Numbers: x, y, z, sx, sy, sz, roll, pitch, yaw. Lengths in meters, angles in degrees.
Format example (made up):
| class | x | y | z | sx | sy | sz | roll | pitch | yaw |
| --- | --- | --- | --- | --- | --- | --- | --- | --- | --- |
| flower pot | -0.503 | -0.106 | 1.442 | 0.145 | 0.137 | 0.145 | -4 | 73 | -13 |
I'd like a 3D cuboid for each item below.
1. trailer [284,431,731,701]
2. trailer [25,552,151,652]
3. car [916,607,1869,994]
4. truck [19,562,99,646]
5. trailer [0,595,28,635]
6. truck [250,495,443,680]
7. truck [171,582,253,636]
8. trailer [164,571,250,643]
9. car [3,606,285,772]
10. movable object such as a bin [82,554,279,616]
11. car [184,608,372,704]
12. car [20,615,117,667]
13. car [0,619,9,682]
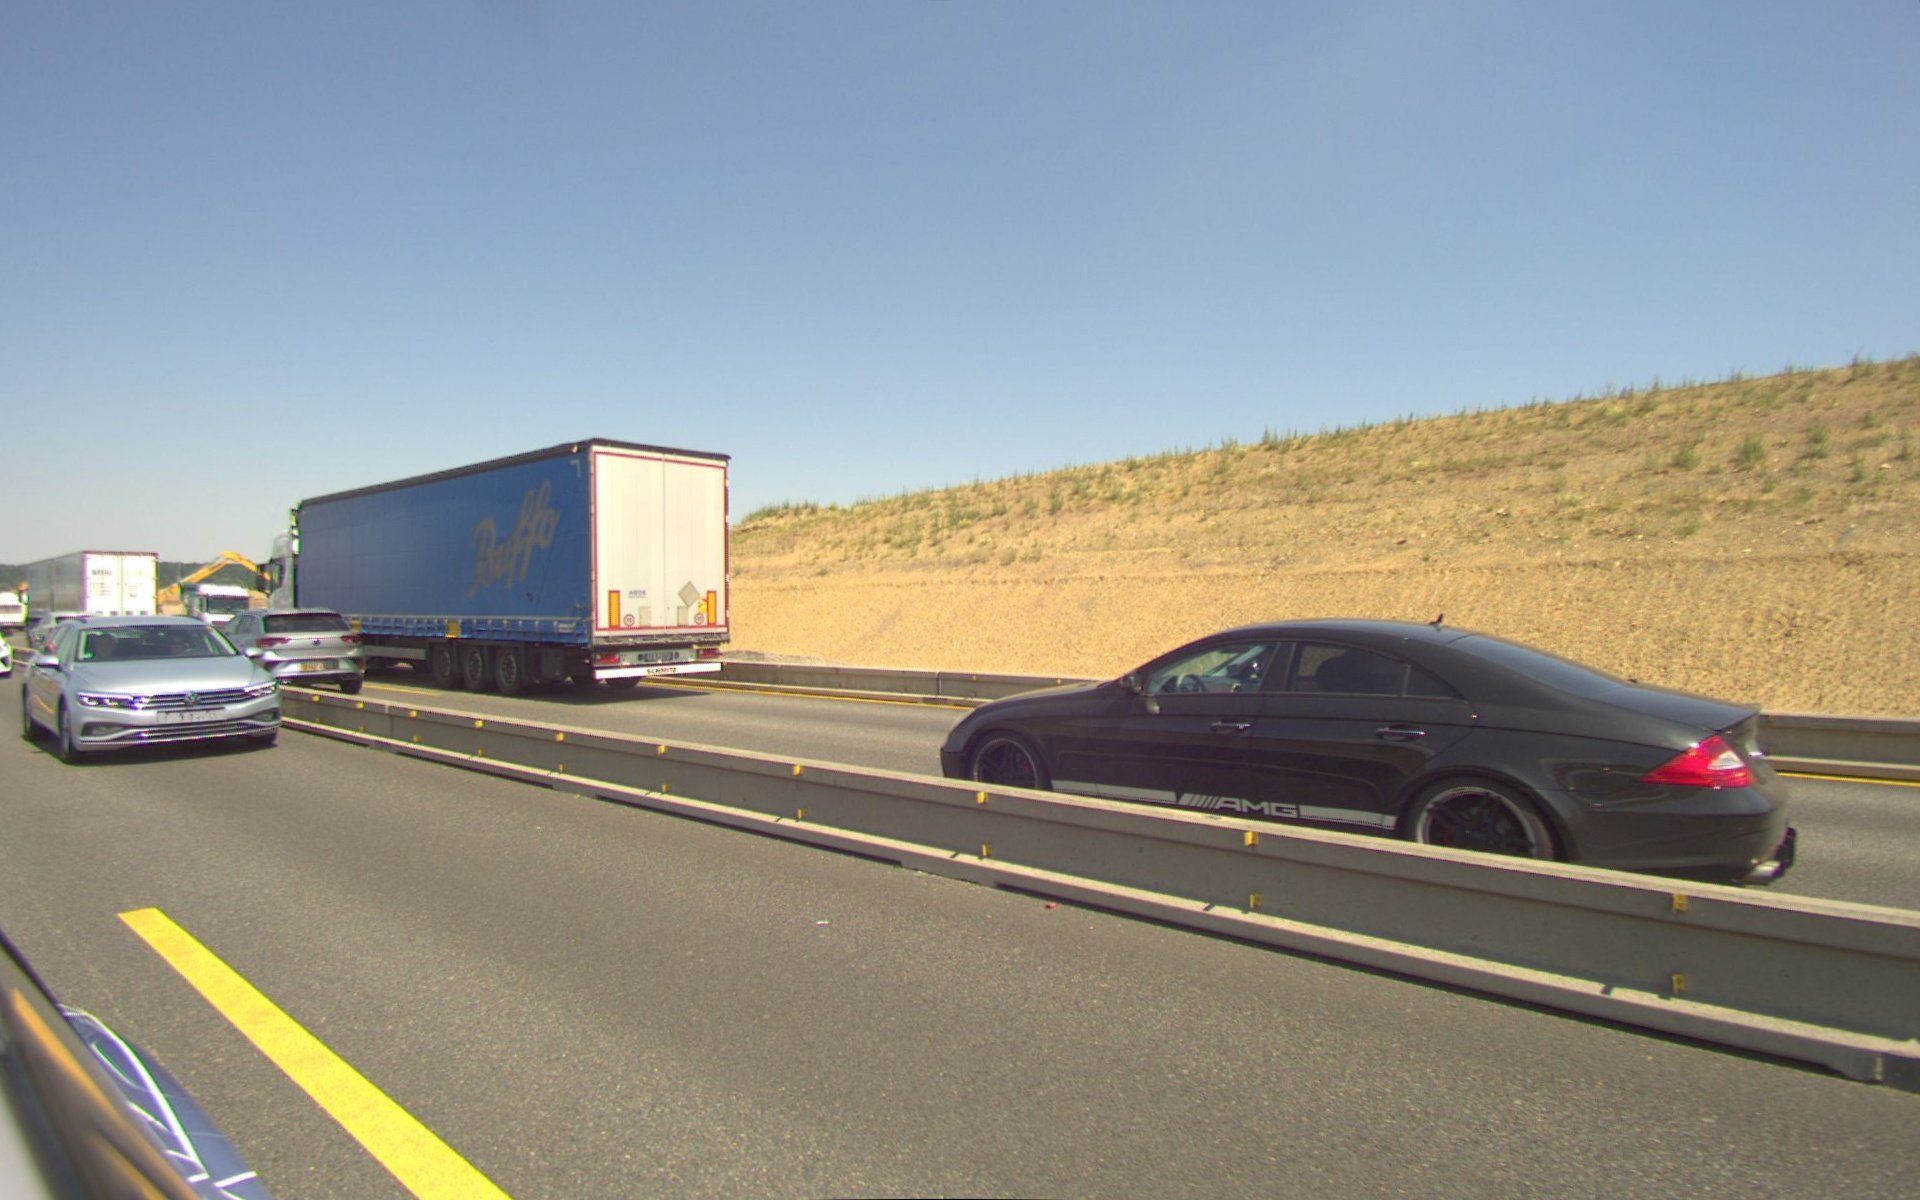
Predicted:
| class | x | y | z | sx | sy | sz | roll | pitch | yaw |
| --- | --- | --- | --- | --- | --- | --- | --- | --- | --- |
| trailer | -9.953 | -0.428 | 20.476 | 13.989 | 3.968 | 2.626 | -1 | 0 | 41 |
| trailer | -42.016 | 0.187 | 48.468 | 15.527 | 4.211 | 2.476 | -1 | -2 | 42 |
| car | 2.095 | 0.764 | 6.021 | 4.857 | 1.397 | 1.711 | 0 | 1 | 40 |
| truck | -47.829 | 0.271 | 53.653 | 5.910 | 4.230 | 2.465 | -1 | -2 | 42 |
| trailer | -67.263 | 1.025 | 70.752 | 6.751 | 2.707 | 2.288 | -1 | -2 | 40 |
| truck | -15.265 | -0.254 | 25.082 | 5.146 | 4.084 | 2.566 | -1 | 0 | 40 |
| truck | -43.027 | 0.490 | 58.196 | 5.055 | 2.986 | 2.554 | 0 | 0 | 38 |
| trailer | -45.974 | 0.372 | 62.032 | 2.751 | 4.129 | 8.397 | -1 | 0 | -27 |
| car | -9.350 | 0.870 | 11.482 | 4.098 | 1.519 | 1.781 | -1 | 0 | 41 |
| movable object such as a bin | -90.967 | -1.774 | 118.879 | 3.386 | 6.823 | 18.034 | 0 | 1 | 40 |
| car | -12.540 | 0.975 | 18.519 | 4.136 | 1.567 | 1.757 | -1 | -3 | 40 |
| car | -28.929 | 1.267 | 32.797 | 4.240 | 1.499 | 1.789 | 0 | 1 | 40 |
| car | -23.752 | 1.166 | 23.680 | 4.029 | 1.408 | 1.851 | 0 | 1 | 42 |
